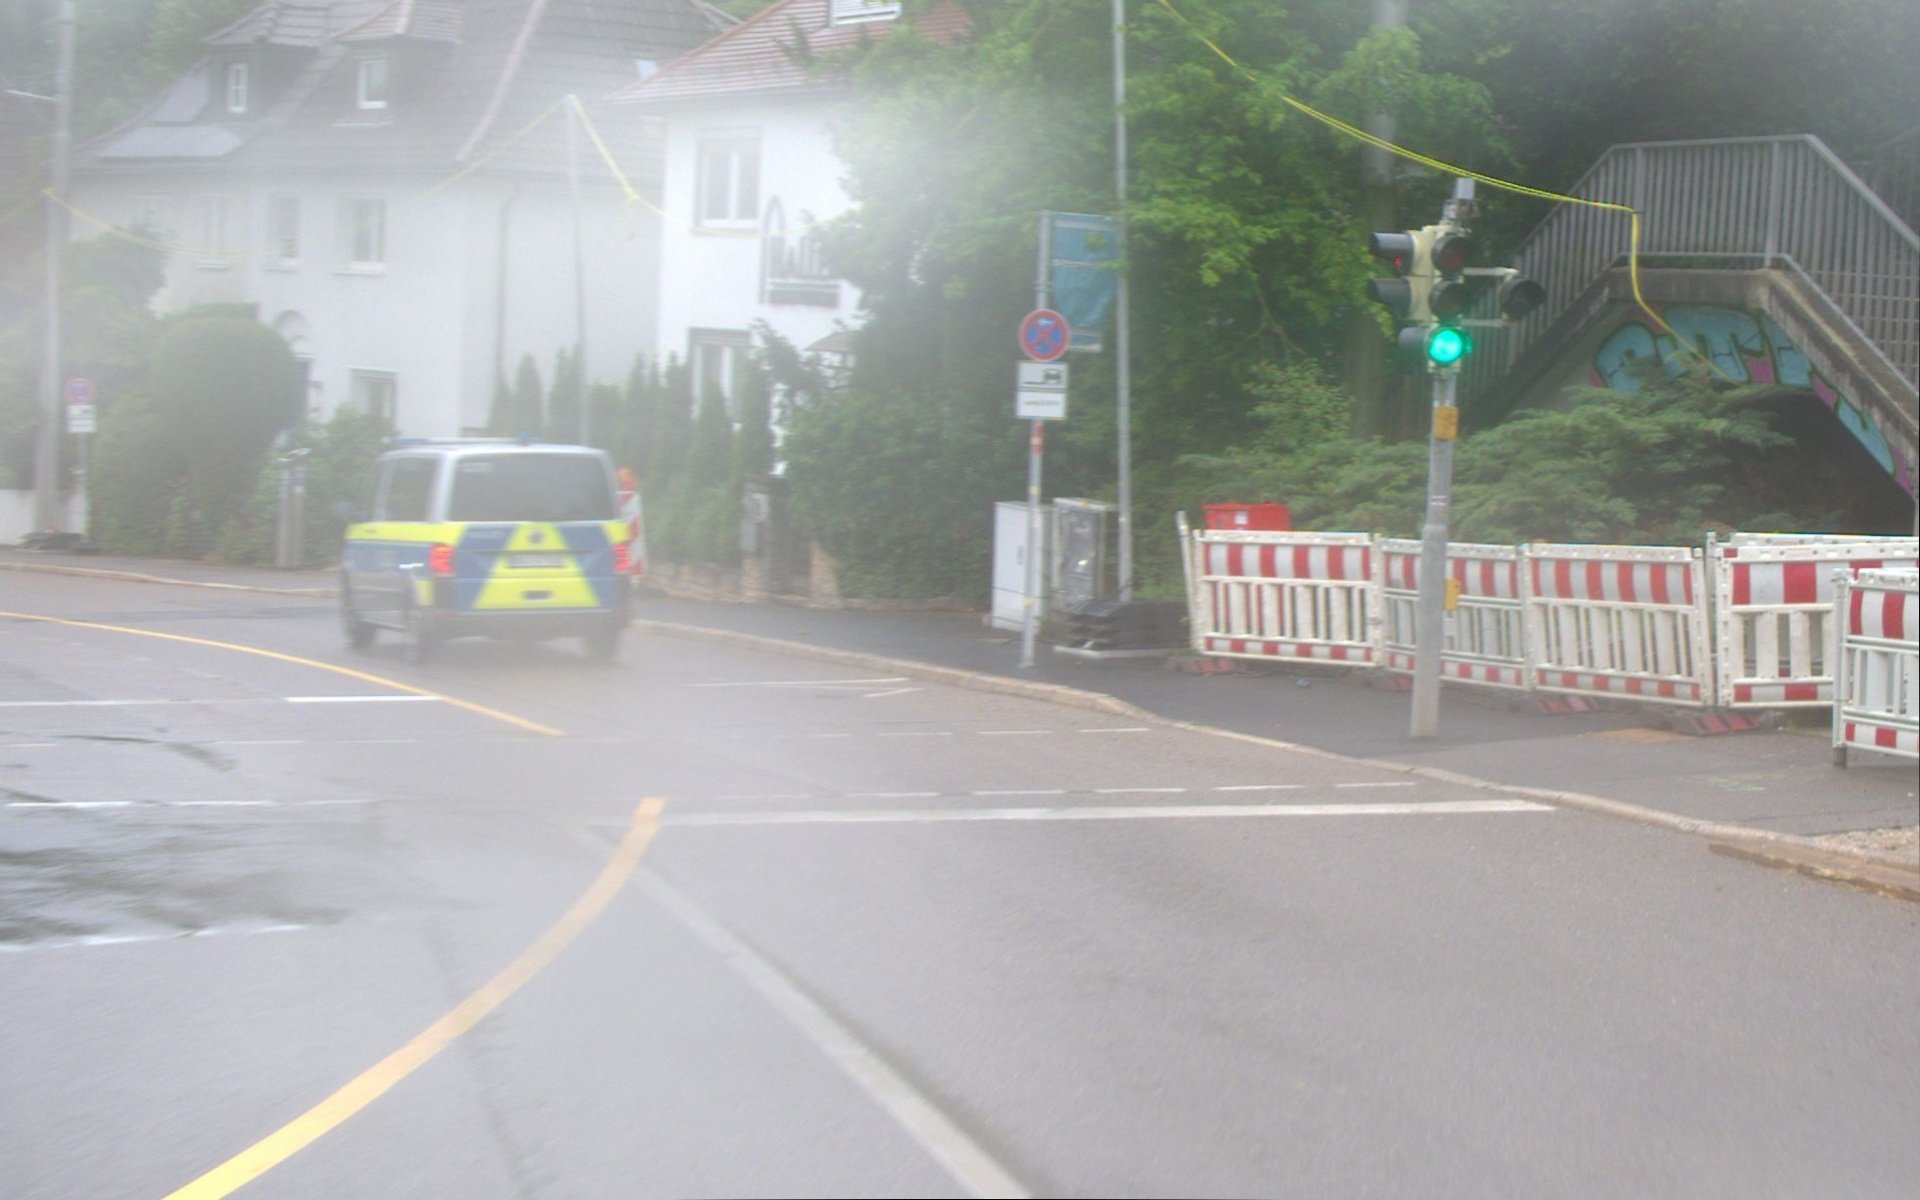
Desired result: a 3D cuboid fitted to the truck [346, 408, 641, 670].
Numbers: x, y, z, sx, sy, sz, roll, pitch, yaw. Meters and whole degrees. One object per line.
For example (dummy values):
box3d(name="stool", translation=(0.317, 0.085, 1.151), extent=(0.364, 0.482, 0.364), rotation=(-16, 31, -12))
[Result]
box3d(name="truck", translation=(-4.372, -0.637, 31.564), extent=(1.993, 2.006, 4.737), rotation=(0, 6, -16))
